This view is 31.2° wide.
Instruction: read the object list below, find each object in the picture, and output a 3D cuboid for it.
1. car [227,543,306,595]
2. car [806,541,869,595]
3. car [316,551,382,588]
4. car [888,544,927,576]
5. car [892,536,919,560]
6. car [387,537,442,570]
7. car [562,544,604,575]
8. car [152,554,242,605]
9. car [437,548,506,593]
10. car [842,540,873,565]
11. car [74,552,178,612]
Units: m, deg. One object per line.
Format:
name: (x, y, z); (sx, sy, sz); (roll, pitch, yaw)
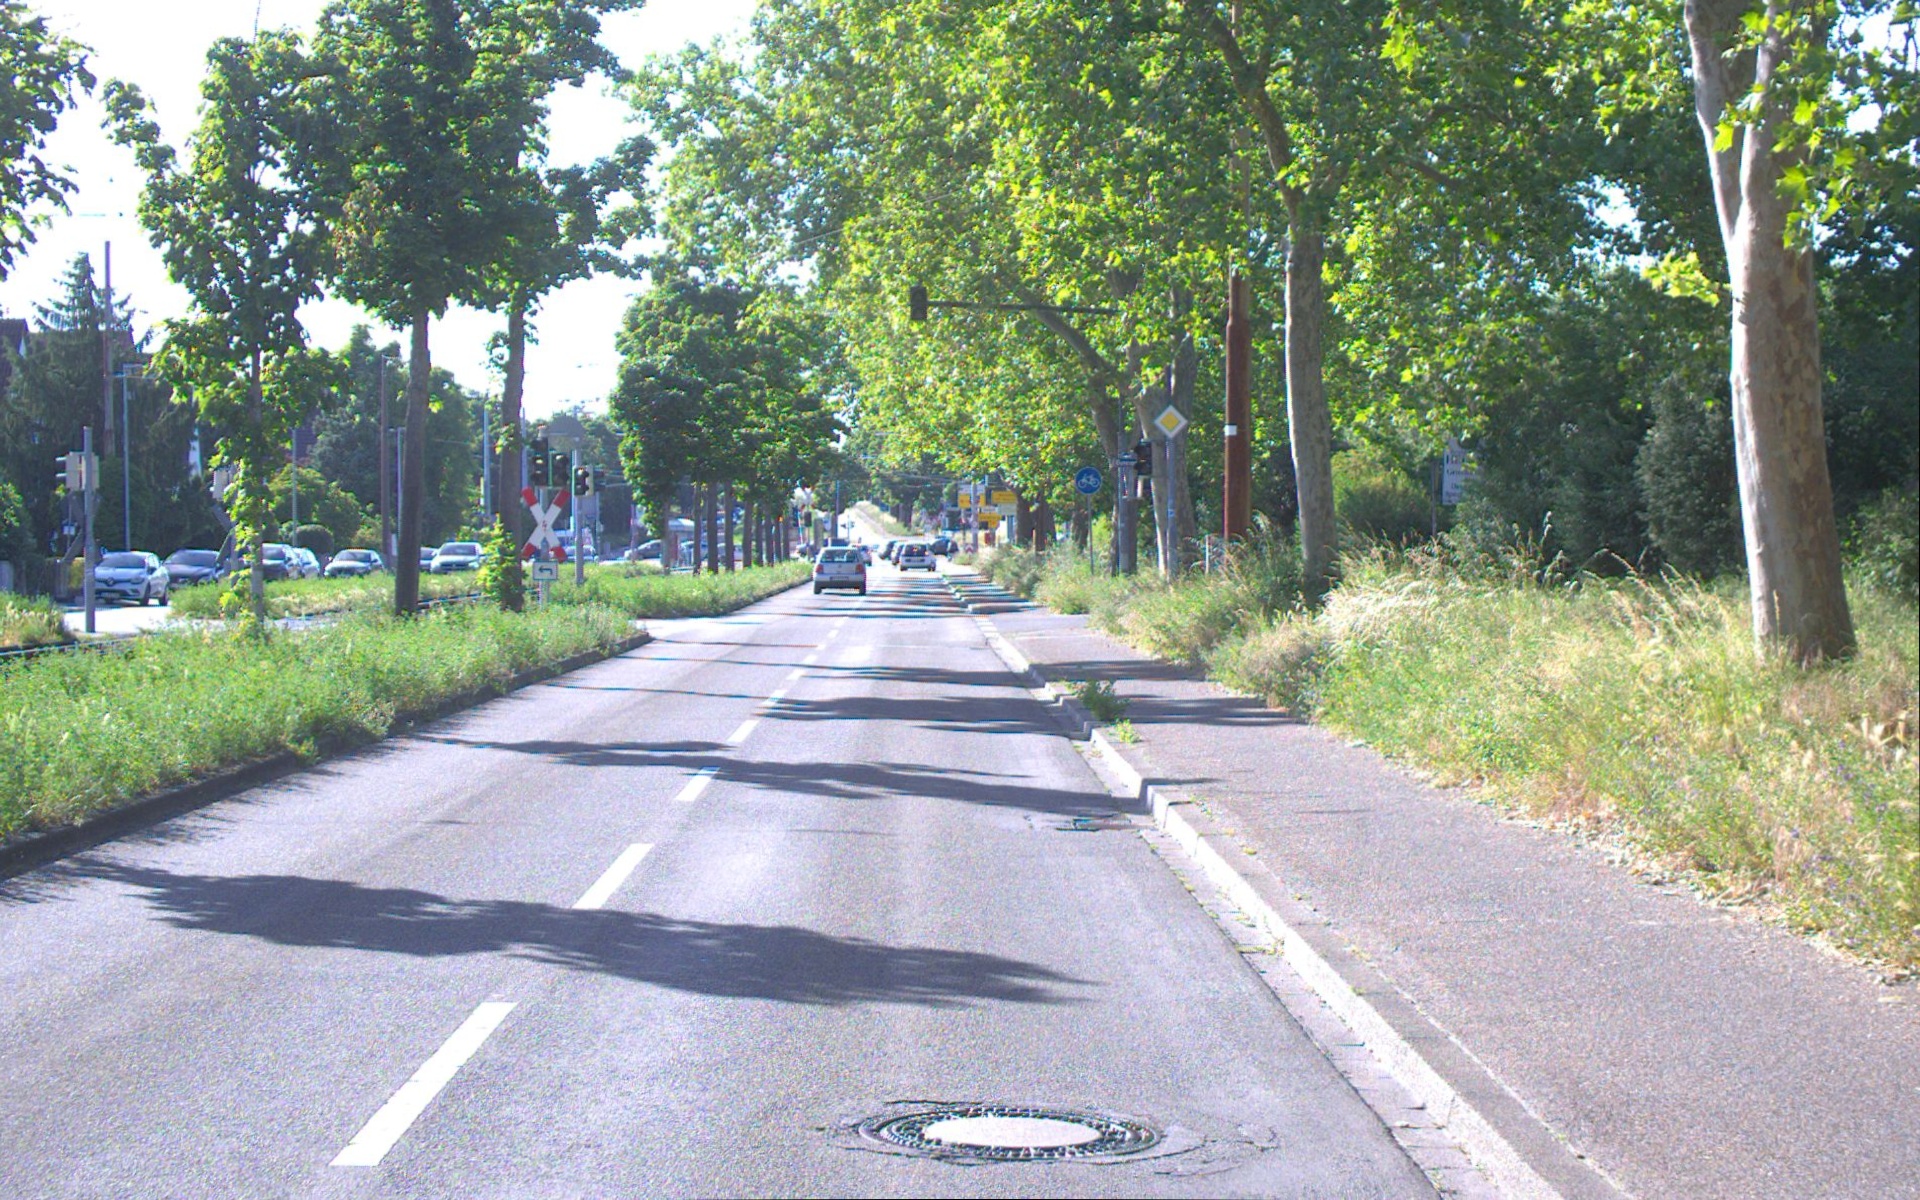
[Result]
car: (-22.975, -1.032, 114.006); (1.748, 1.645, 4.555); (1, 1, -1)
car: (-3.778, -1.007, 106.490); (1.860, 1.595, 4.228); (1, 1, -1)
car: (-23.679, -1.181, 133.302); (1.860, 1.365, 4.228); (1, 1, -1)
car: (-2.782, -2.102, 180.861); (1.993, 1.598, 4.474); (1, 1, -1)
car: (-3.717, -3.478, 232.494); (1.791, 1.554, 4.228); (1, 1, -1)
car: (-24.177, -2.066, 152.492); (1.860, 1.408, 4.158); (1, 1, -1)
car: (-19.256, -2.057, 175.832); (1.660, 1.547, 4.811); (1, 1, -1)
car: (-22.809, -0.627, 102.963); (1.729, 1.461, 4.603); (1, 1, -1)
car: (-18.161, -1.085, 127.982); (1.993, 1.598, 4.474); (1, 1, -1)
car: (-6.876, -3.181, 230.046); (1.993, 1.598, 4.474); (1, 1, -1)
car: (-22.798, -0.502, 94.077); (1.860, 1.537, 4.228); (1, 1, -1)
